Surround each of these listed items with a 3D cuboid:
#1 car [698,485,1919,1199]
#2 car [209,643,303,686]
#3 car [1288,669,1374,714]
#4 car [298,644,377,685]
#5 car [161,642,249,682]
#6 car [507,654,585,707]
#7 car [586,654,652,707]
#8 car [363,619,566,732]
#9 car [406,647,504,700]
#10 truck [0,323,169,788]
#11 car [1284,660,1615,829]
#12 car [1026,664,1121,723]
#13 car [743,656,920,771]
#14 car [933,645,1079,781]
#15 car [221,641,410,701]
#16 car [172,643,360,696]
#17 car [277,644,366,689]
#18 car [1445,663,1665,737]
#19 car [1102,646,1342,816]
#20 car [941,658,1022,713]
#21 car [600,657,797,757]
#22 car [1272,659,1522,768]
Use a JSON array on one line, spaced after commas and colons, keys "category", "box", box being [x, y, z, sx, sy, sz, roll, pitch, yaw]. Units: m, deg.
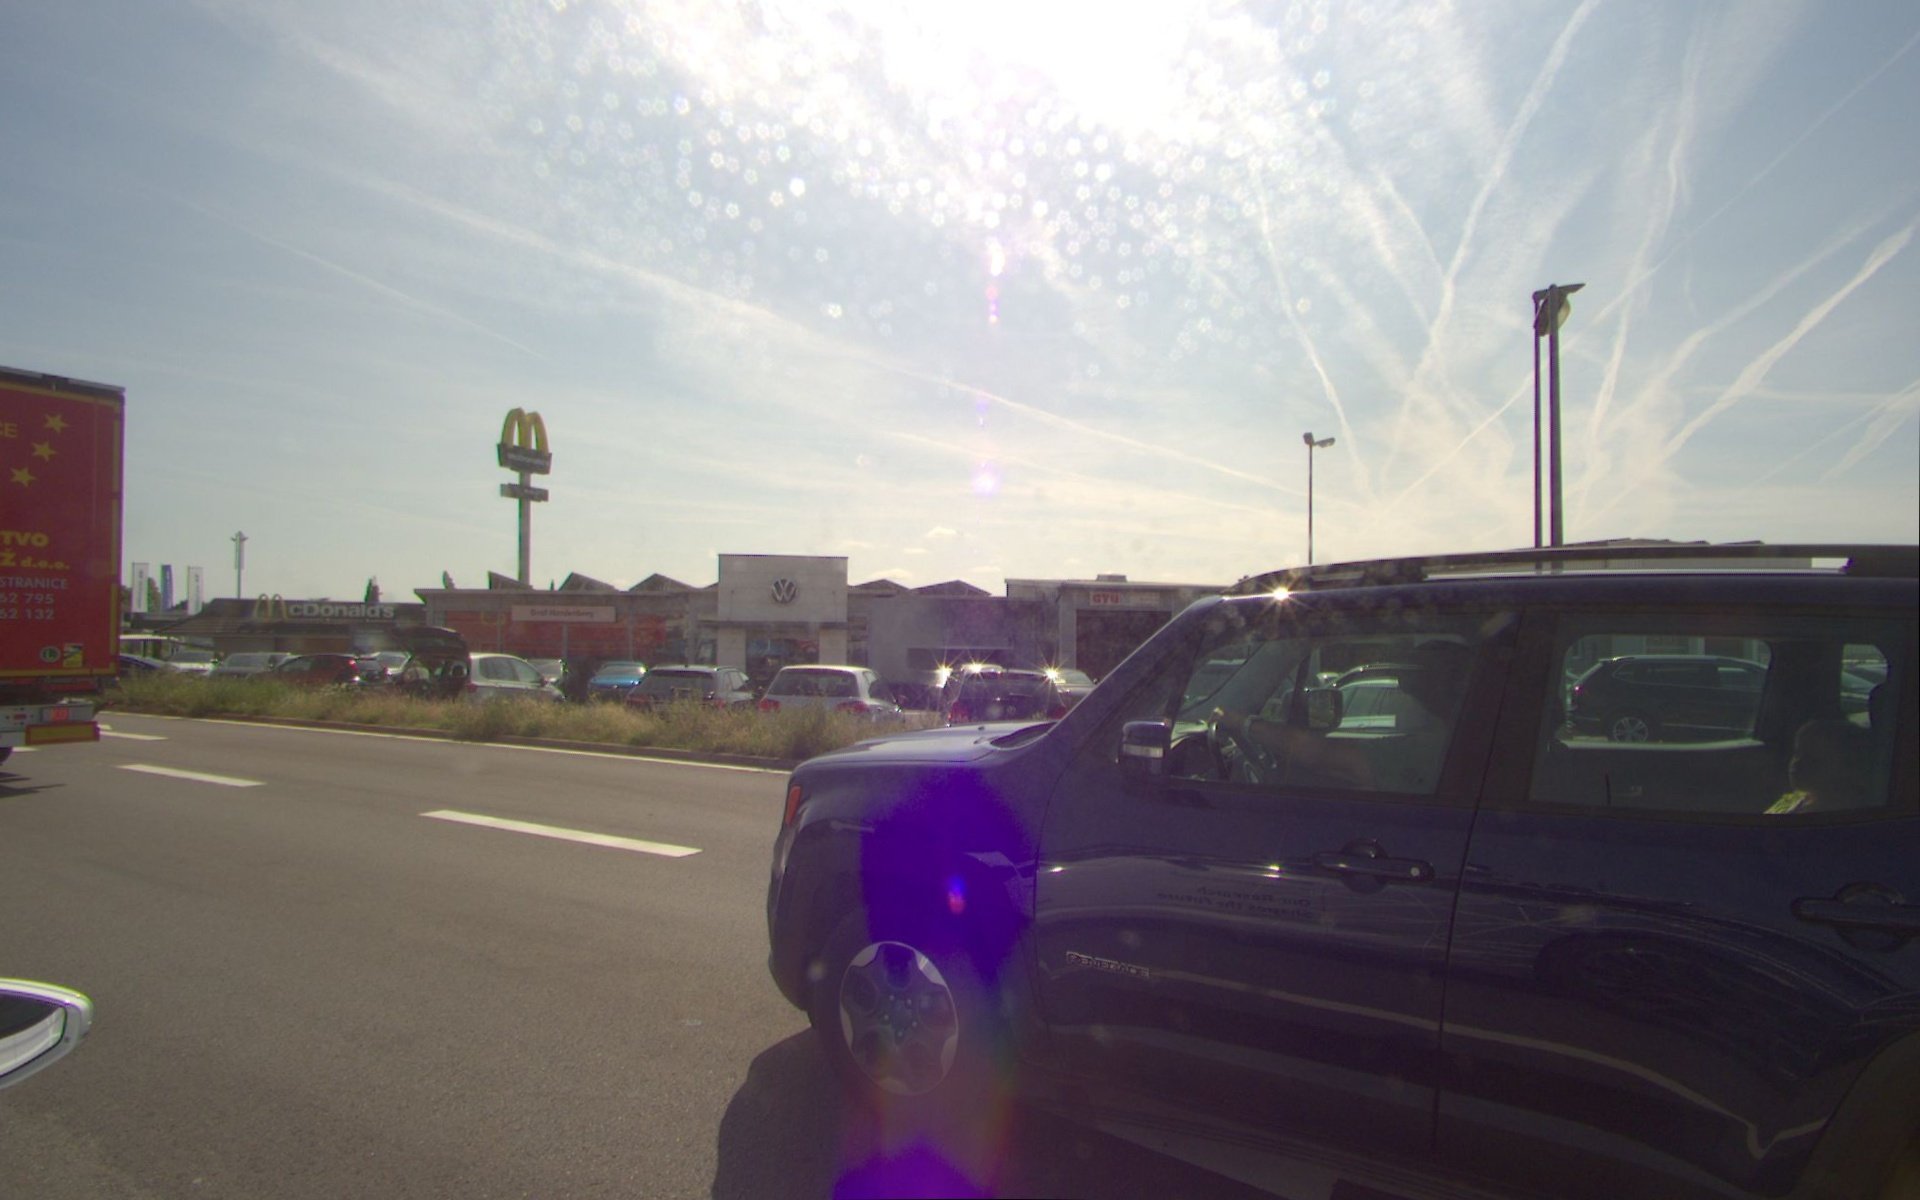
[{"category": "car", "box": [1.274, 0.685, 3.016, 3.943, 1.707, 1.816, -1, -1, 32]}, {"category": "car", "box": [-26.643, 2.411, 38.026, 1.737, 1.550, 3.626, 1, -2, -15]}, {"category": "car", "box": [12.996, 3.185, 35.326, 1.642, 1.382, 3.767, 1, -2, 0]}, {"category": "car", "box": [-24.894, 2.564, 40.139, 1.656, 1.550, 3.593, 1, -2, -15]}, {"category": "car", "box": [-30.765, 2.522, 40.911, 1.733, 1.550, 3.262, 1, -2, -15]}, {"category": "car", "box": [-13.438, 2.572, 32.722, 1.771, 1.550, 4.223, 1, -2, -15]}, {"category": "car", "box": [-11.140, 2.603, 32.929, 1.671, 1.577, 3.783, 1, -2, -13]}, {"category": "car", "box": [-9.407, 1.391, 19.386, 1.669, 1.945, 3.848, 0, -2, 7]}, {"category": "car", "box": [-16.161, 2.316, 32.250, 1.964, 1.550, 3.996, 1, -2, -15]}, {"category": "truck", "box": [-15.986, -0.326, 13.445, 16.343, 4.324, 2.953, -1, -2, 32]}, {"category": "car", "box": [5.099, 1.433, 11.112, 1.705, 1.420, 4.040, 1, -2, 0]}, {"category": "car", "box": [3.354, 2.775, 30.345, 1.706, 1.555, 4.036, 1, -2, -11]}, {"category": "car", "box": [-1.785, 1.608, 15.181, 1.670, 1.417, 3.847, 0, -2, 8]}, {"category": "car", "box": [0.545, 1.423, 13.819, 1.705, 1.555, 4.040, 1, -2, 0]}, {"category": "car", "box": [-17.690, 1.930, 27.629, 3.922, 1.550, 2.001, 1, -2, 3]}, {"category": "car", "box": [-20.260, 2.036, 29.436, 4.126, 1.473, 1.844, 1, -2, -16]}, {"category": "car", "box": [-23.140, 2.386, 36.430, 1.656, 1.550, 3.593, 1, -2, -15]}, {"category": "car", "box": [14.352, 2.344, 24.358, 1.960, 1.526, 4.202, 2, -3, -37]}, {"category": "car", "box": [2.759, 1.329, 11.474, 1.705, 1.555, 4.040, 1, -2, 0]}, {"category": "car", "box": [0.581, 2.600, 30.388, 1.706, 1.553, 3.764, 1, -5, -11]}, {"category": "car", "box": [-4.296, 1.719, 17.106, 1.671, 1.417, 3.845, 0, -2, 13]}, {"category": "car", "box": [8.387, 2.086, 19.308, 4.173, 1.777, 1.899, -1, -2, 33]}]
